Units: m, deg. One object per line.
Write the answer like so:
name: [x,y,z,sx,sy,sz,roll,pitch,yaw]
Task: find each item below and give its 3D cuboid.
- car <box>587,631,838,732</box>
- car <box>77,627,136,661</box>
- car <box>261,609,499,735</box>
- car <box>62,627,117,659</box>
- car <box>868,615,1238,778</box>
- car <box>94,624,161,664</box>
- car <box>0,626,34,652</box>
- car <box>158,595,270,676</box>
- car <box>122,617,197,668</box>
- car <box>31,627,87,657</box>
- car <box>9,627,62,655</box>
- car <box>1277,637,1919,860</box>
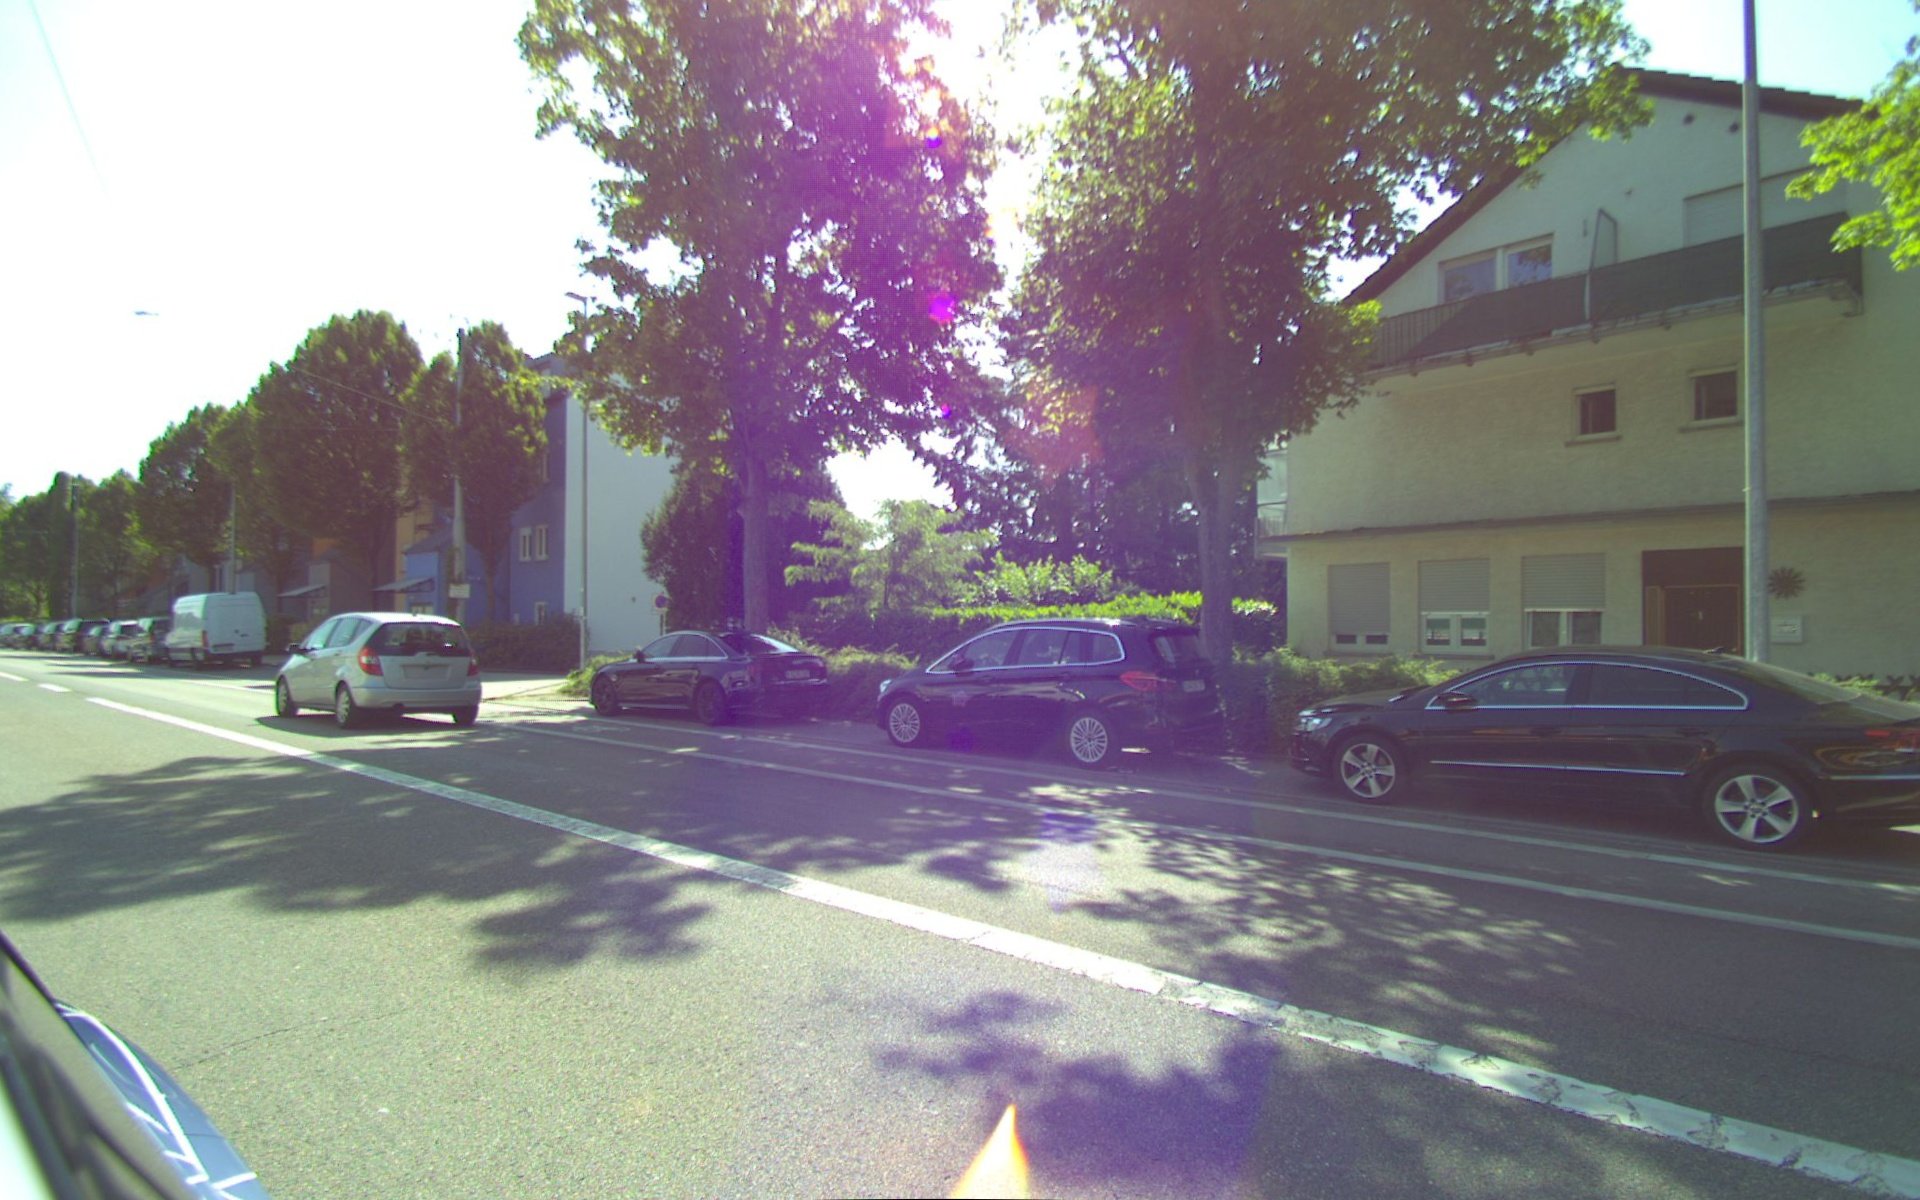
car: [-4.142,1.235,16.550,4.453,1.447,1.658,-1,-3,39]
car: [-41.965,2.141,49.746,3.765,1.513,1.657,-1,1,41]
car: [-8.643,1.001,14.960,3.999,1.608,1.823,-1,-4,42]
car: [-45.485,2.200,52.859,3.765,1.513,1.657,-1,1,41]
car: [0.989,1.029,12.135,4.238,1.625,1.658,-1,-3,39]
car: [-37.949,1.973,46.106,4.146,1.681,1.657,-1,1,41]
car: [-60.242,2.483,64.137,3.761,1.513,1.659,-1,1,38]
car: [-27.358,1.248,37.024,6.083,2.671,1.990,-1,1,42]
car: [-33.650,1.739,42.495,4.456,1.951,1.657,-1,1,41]
car: [-50.353,2.313,56.558,3.761,1.513,1.659,-1,1,38]
car: [-54.679,2.412,59.859,3.761,1.513,1.659,-1,1,38]
car: [5.200,1.026,8.496,4.580,1.406,1.678,-2,-3,43]
